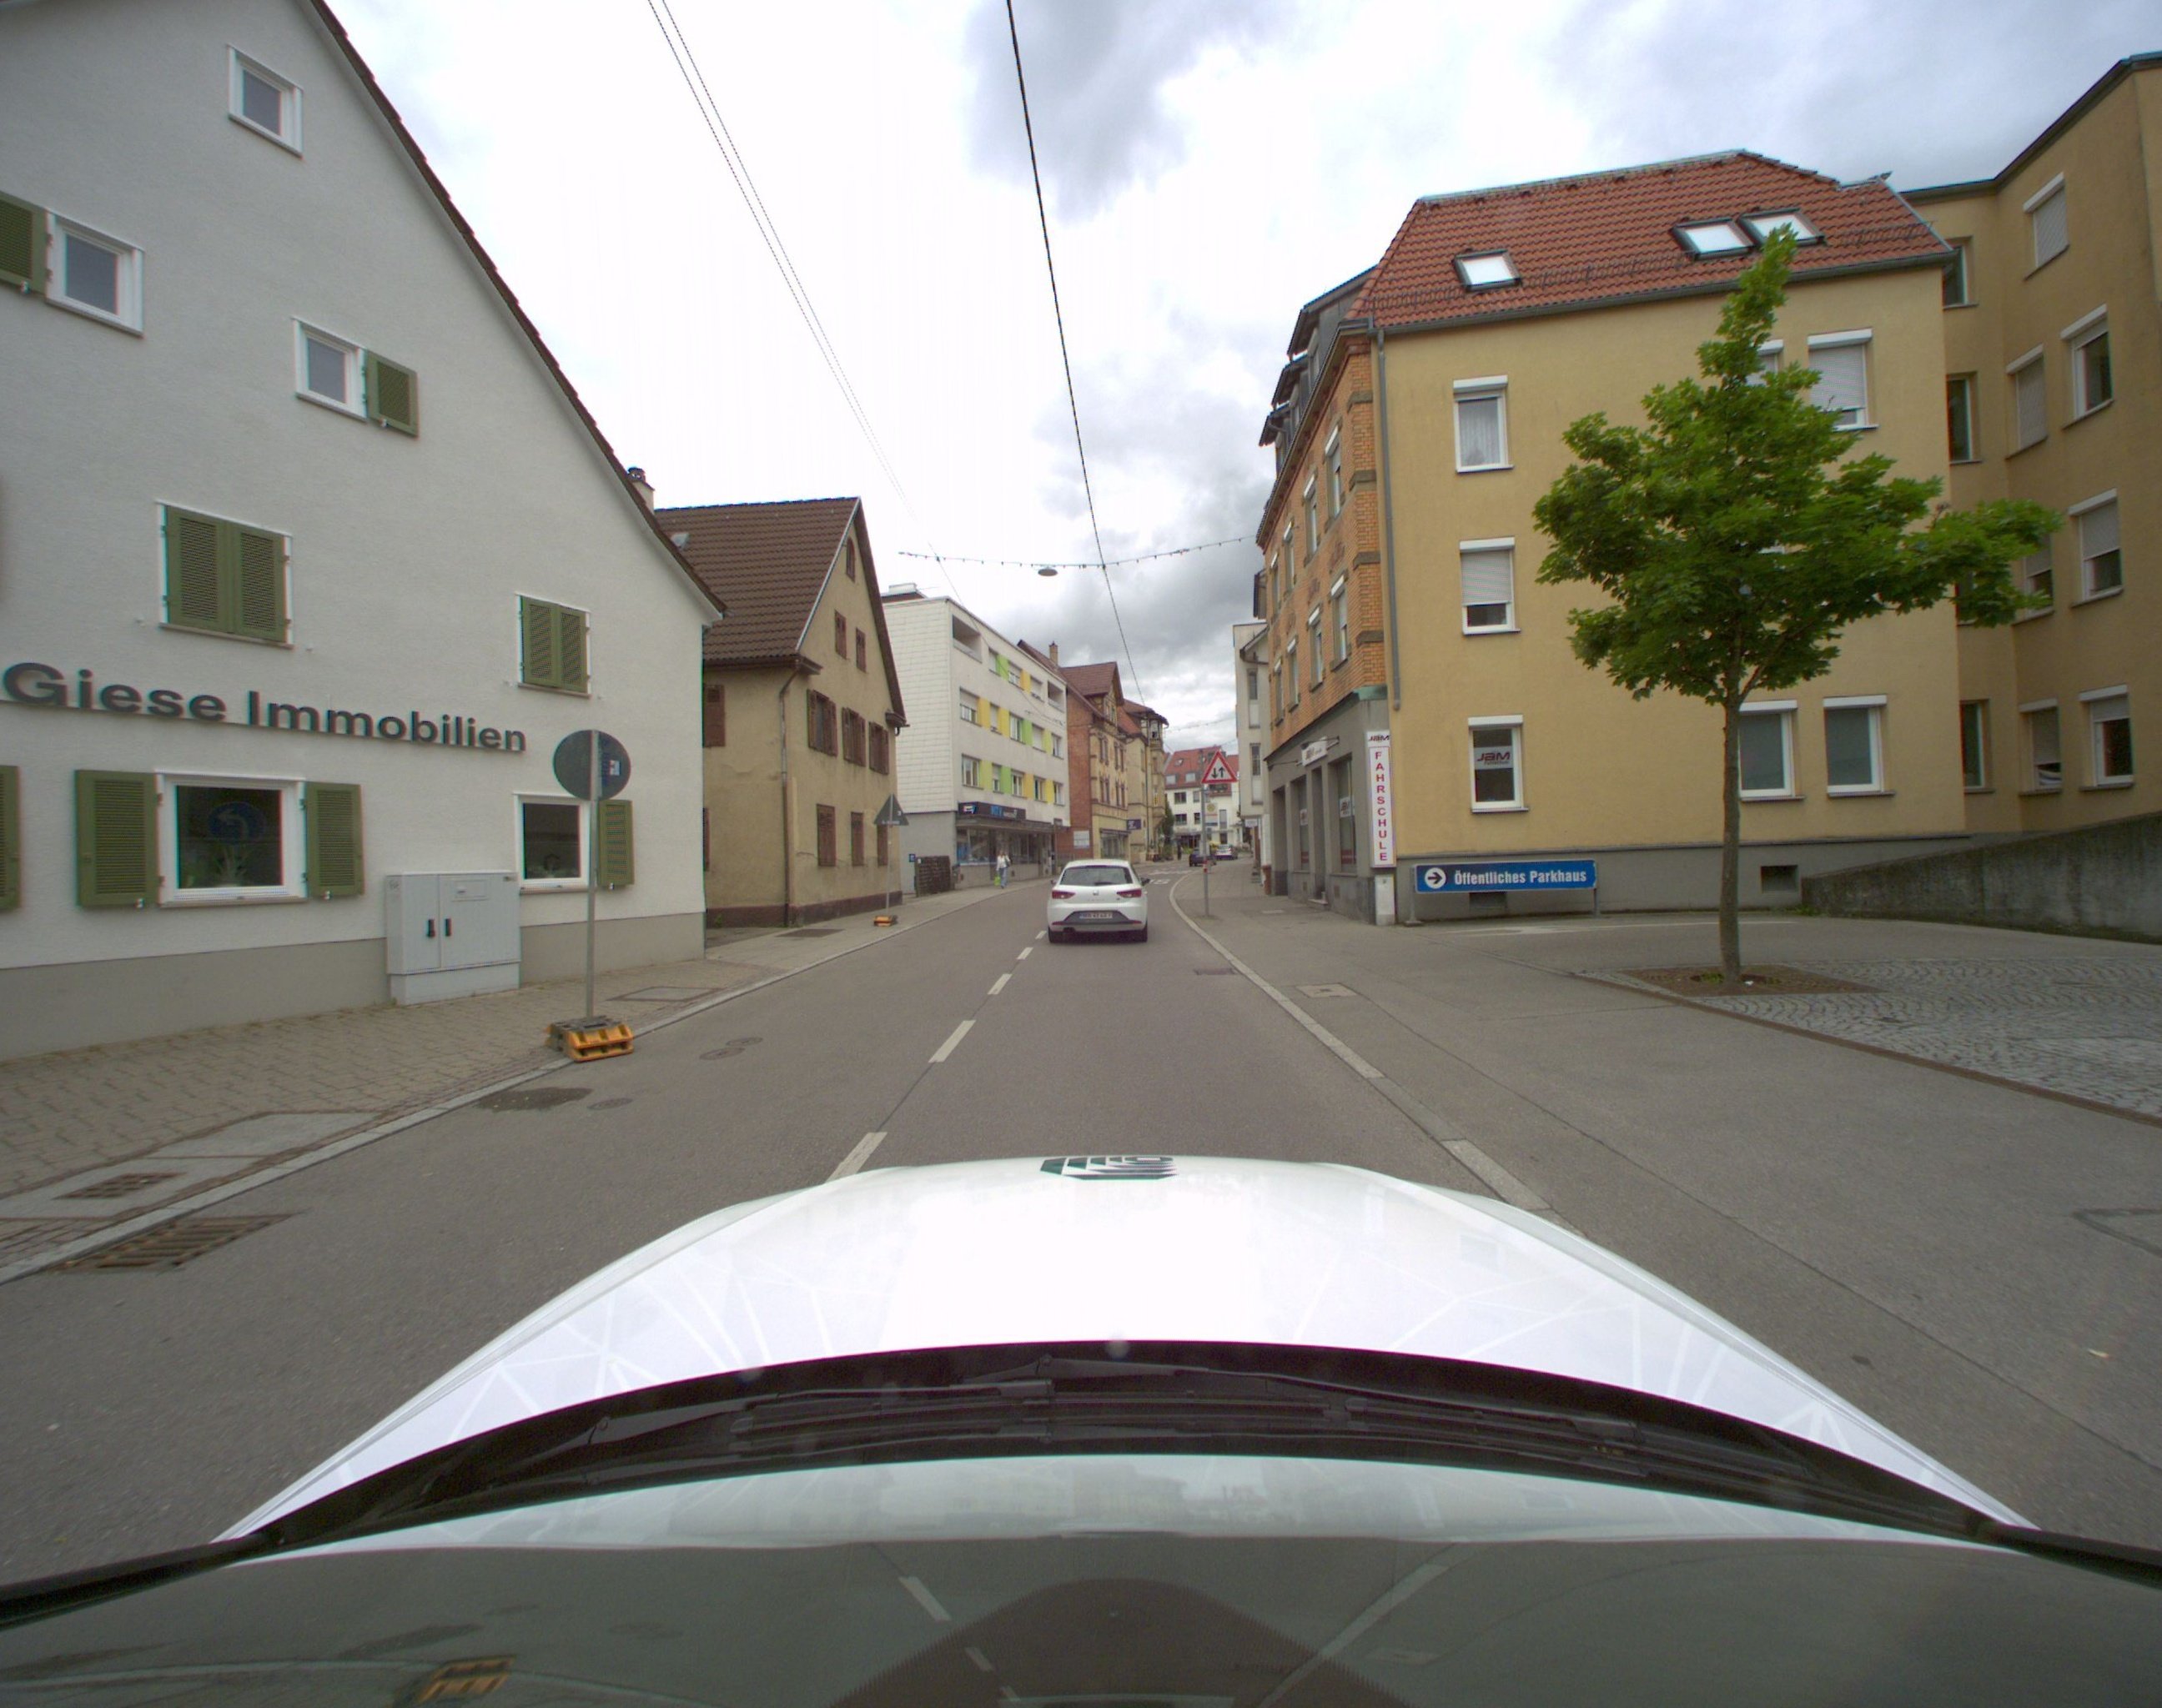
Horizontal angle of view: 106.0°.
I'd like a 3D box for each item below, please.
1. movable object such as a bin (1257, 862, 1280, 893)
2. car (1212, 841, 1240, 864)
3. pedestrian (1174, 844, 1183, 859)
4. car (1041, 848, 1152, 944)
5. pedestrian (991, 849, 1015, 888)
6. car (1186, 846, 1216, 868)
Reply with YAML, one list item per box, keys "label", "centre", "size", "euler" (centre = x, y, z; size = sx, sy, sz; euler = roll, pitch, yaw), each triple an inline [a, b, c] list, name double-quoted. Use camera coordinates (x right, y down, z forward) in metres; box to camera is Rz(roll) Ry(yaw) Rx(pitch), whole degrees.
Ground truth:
- label: "movable object such as a bin"
  centre: [5.814, 0.733, 25.317]
  size: [0.616, 0.921, 0.583]
  euler: [-2, 0, 7]
- label: "car"
  centre: [13.666, -0.160, 76.581]
  size: [1.977, 2.013, 4.020]
  euler: [-2, 0, 19]
- label: "pedestrian"
  centre: [10.227, -0.238, 85.130]
  size: [0.829, 1.552, 0.629]
  euler: [-2, 0, 8]
- label: "car"
  centre: [0.380, 0.681, 15.388]
  size: [1.804, 1.480, 3.875]
  euler: [-2, 1, 4]
- label: "pedestrian"
  centre: [-3.453, 0.616, 36.066]
  size: [0.889, 1.665, 0.861]
  euler: [-2, 0, 0]
- label: "car"
  centre: [9.341, 0.221, 63.041]
  size: [1.798, 1.480, 3.887]
  euler: [-2, 1, 16]
